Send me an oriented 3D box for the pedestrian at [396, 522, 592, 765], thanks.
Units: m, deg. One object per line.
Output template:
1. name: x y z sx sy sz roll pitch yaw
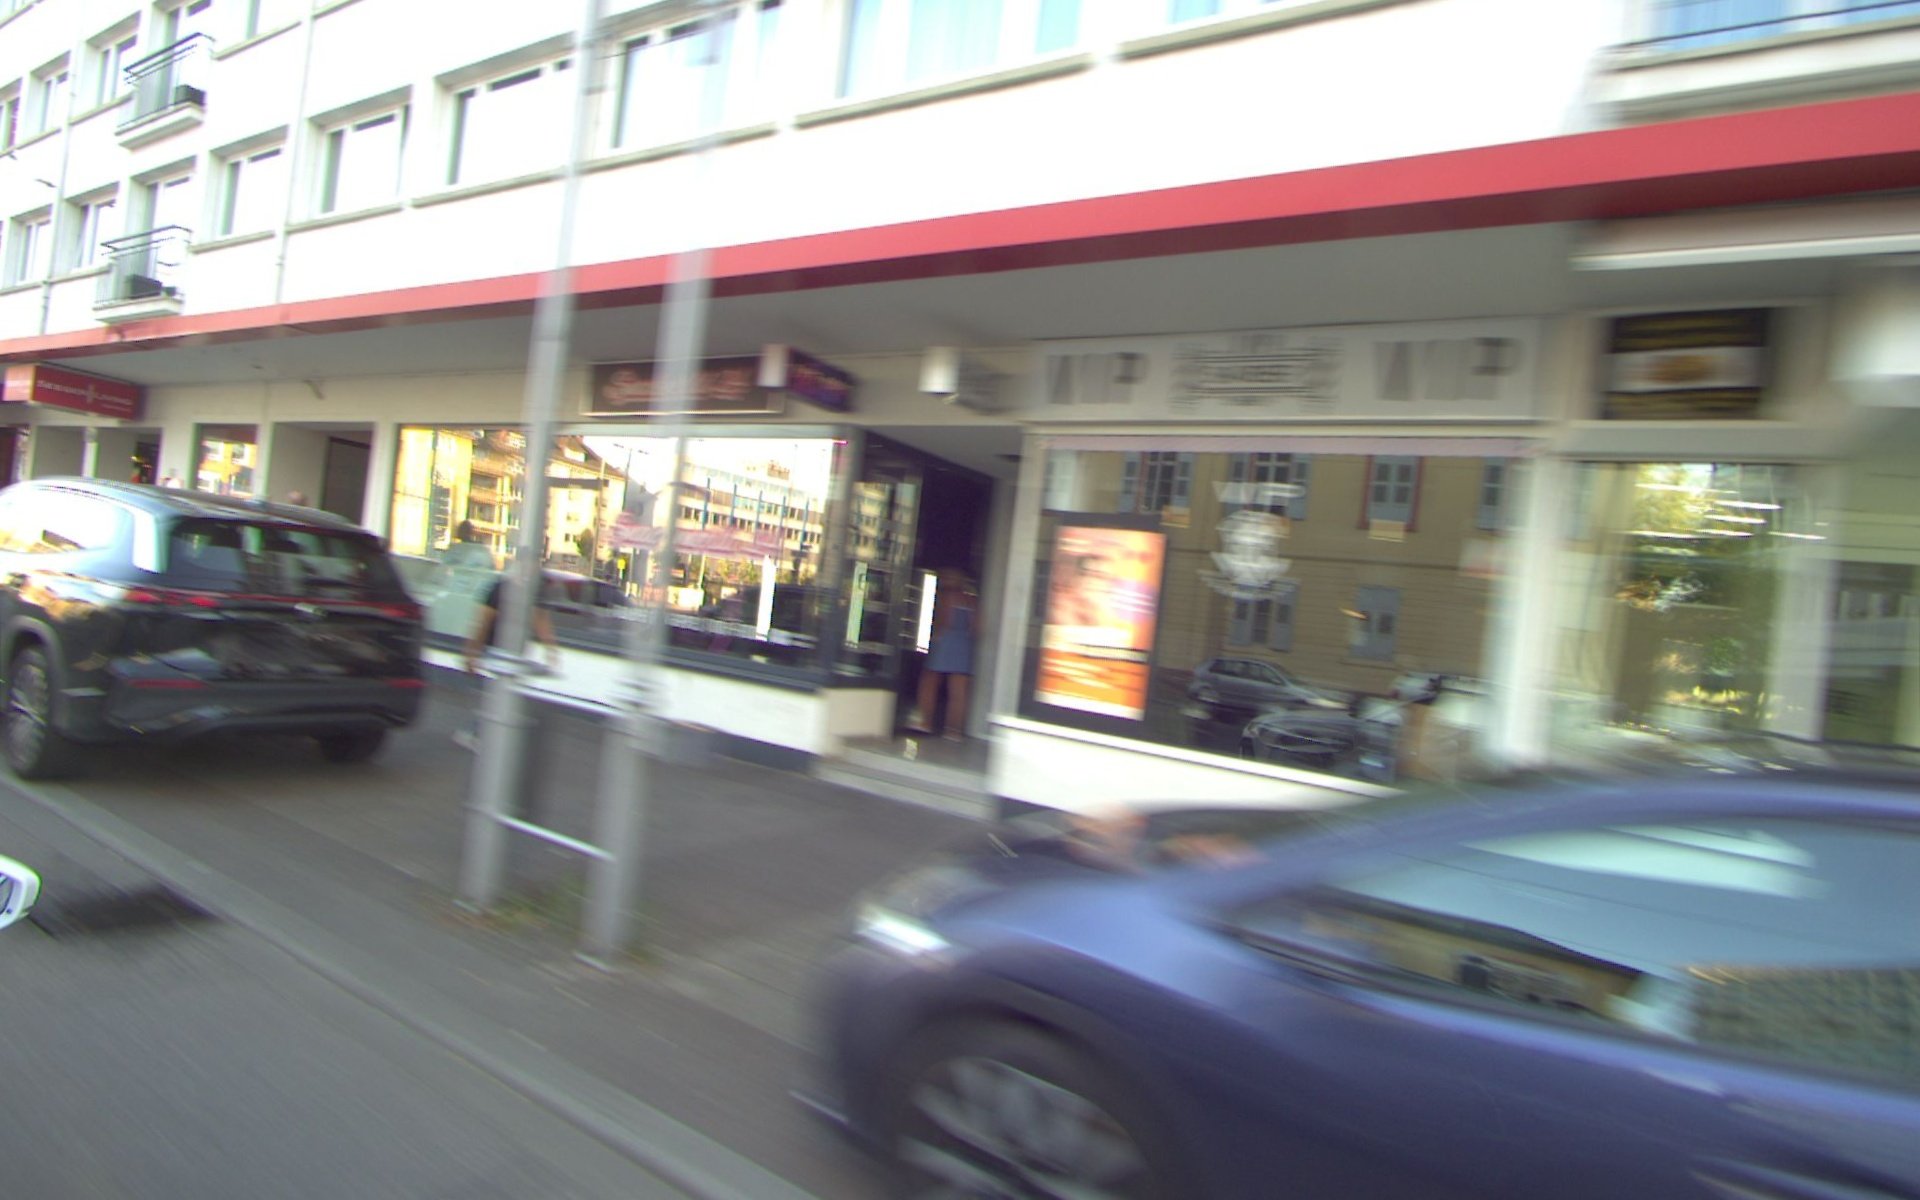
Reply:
1. pedestrian: -3.387 0.303 7.325 0.951 1.593 0.734 7 0 32

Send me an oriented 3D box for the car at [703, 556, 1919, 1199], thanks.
1. car: 1.702 0.964 2.188 4.285 1.539 1.785 7 -2 32

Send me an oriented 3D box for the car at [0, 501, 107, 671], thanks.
1. car: -10.139 -0.331 9.683 4.122 1.436 1.655 6 -3 32

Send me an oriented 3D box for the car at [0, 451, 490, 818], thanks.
1. car: -5.385 0.081 6.682 4.345 1.720 1.860 6 -3 32

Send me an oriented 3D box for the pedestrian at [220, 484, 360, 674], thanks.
1. pedestrian: -7.175 -0.219 10.791 0.919 1.903 0.775 6 0 30
